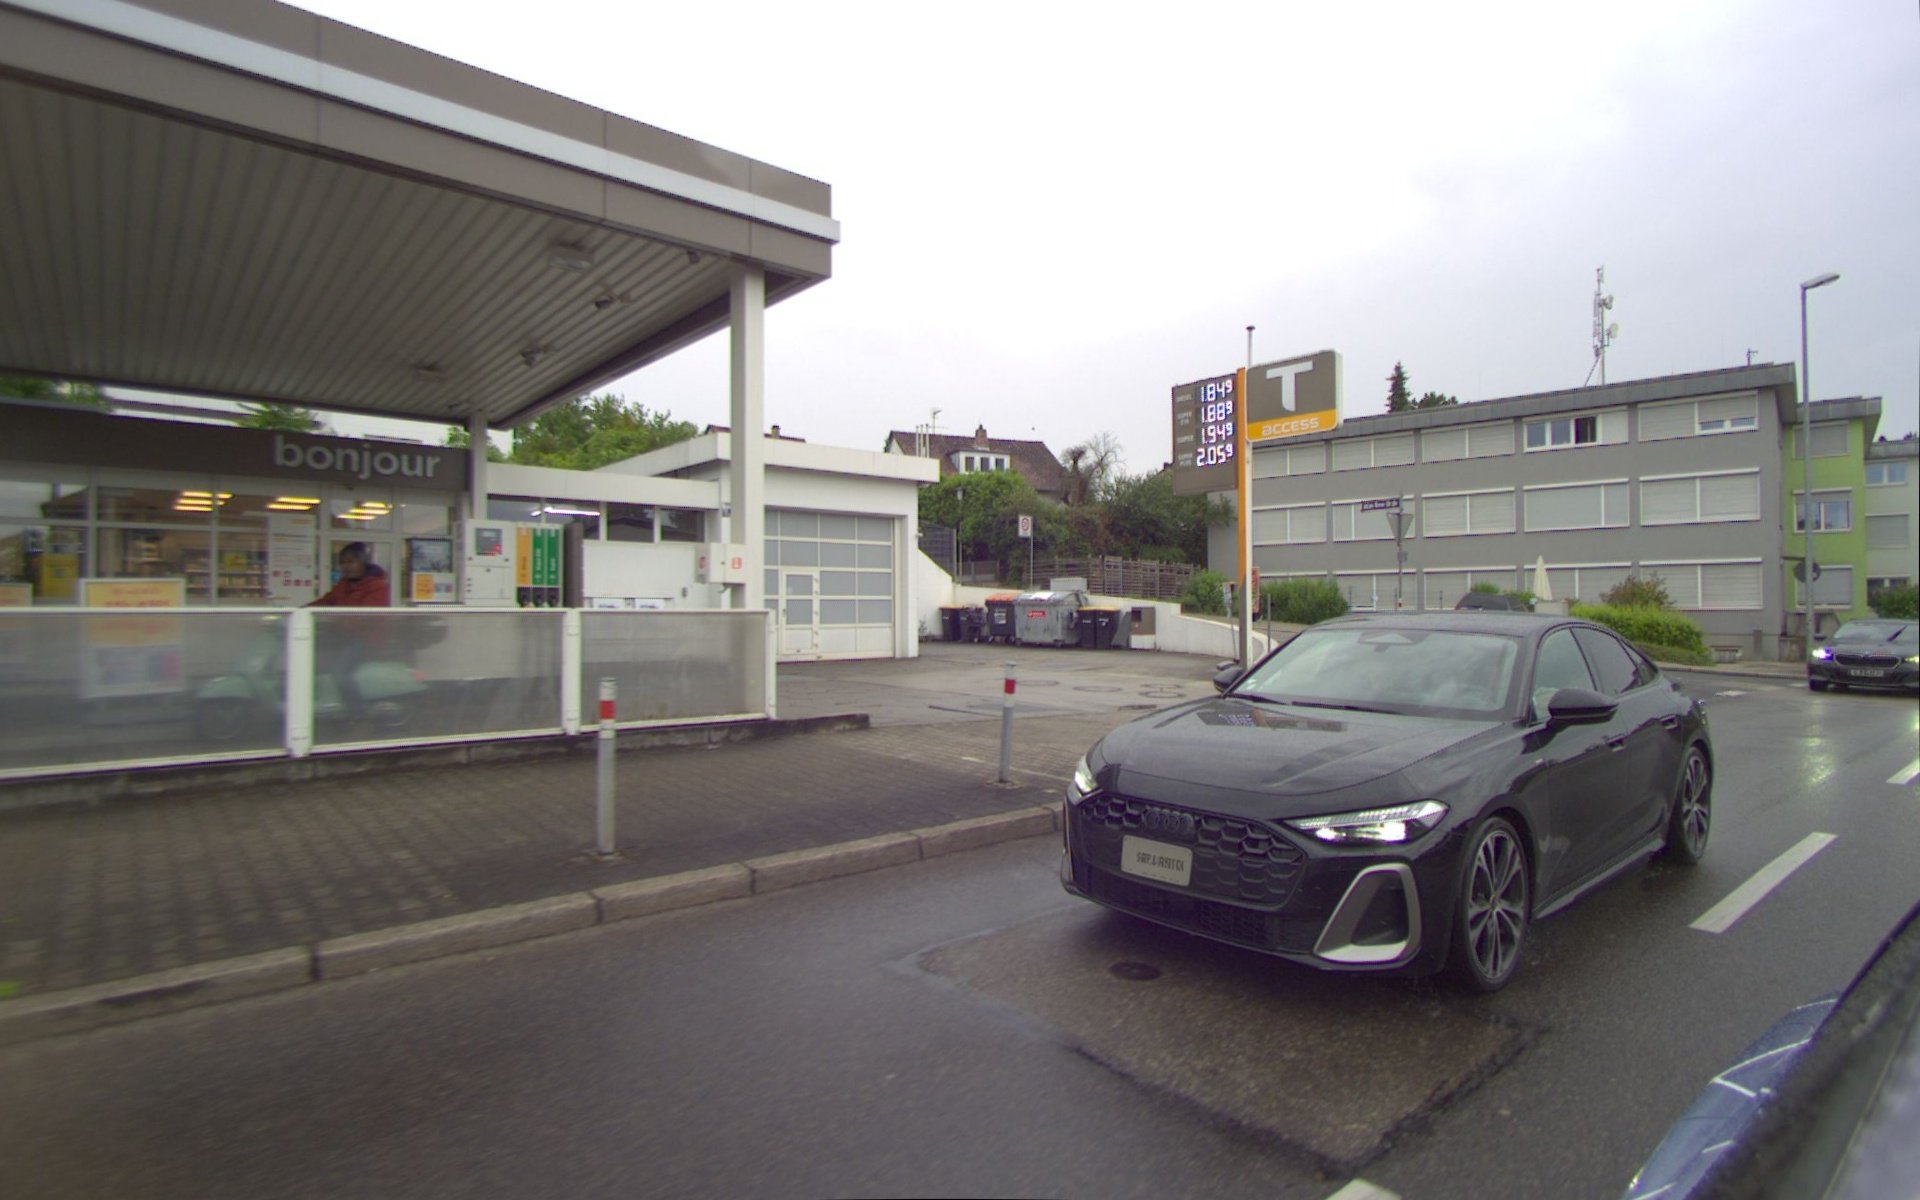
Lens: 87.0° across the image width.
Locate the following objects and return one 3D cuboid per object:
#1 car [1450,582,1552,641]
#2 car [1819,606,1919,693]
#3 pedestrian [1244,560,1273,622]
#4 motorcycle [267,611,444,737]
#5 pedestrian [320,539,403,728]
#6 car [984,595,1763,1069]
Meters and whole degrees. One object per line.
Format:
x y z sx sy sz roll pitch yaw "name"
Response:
16.414 0.294 30.634 1.809 1.545 3.940 5 4 41 "car"
18.658 0.909 20.077 3.929 1.538 1.871 -1 0 -40 "car"
9.859 -0.292 33.410 0.604 2.039 0.716 0 0 -42 "pedestrian"
-5.600 0.649 9.411 1.366 1.068 0.463 0 0 -40 "motorcycle"
-5.571 0.291 9.409 0.575 1.677 0.611 0 0 -40 "pedestrian"
2.483 0.704 5.349 4.655 1.442 1.870 -1 0 -40 "car"
